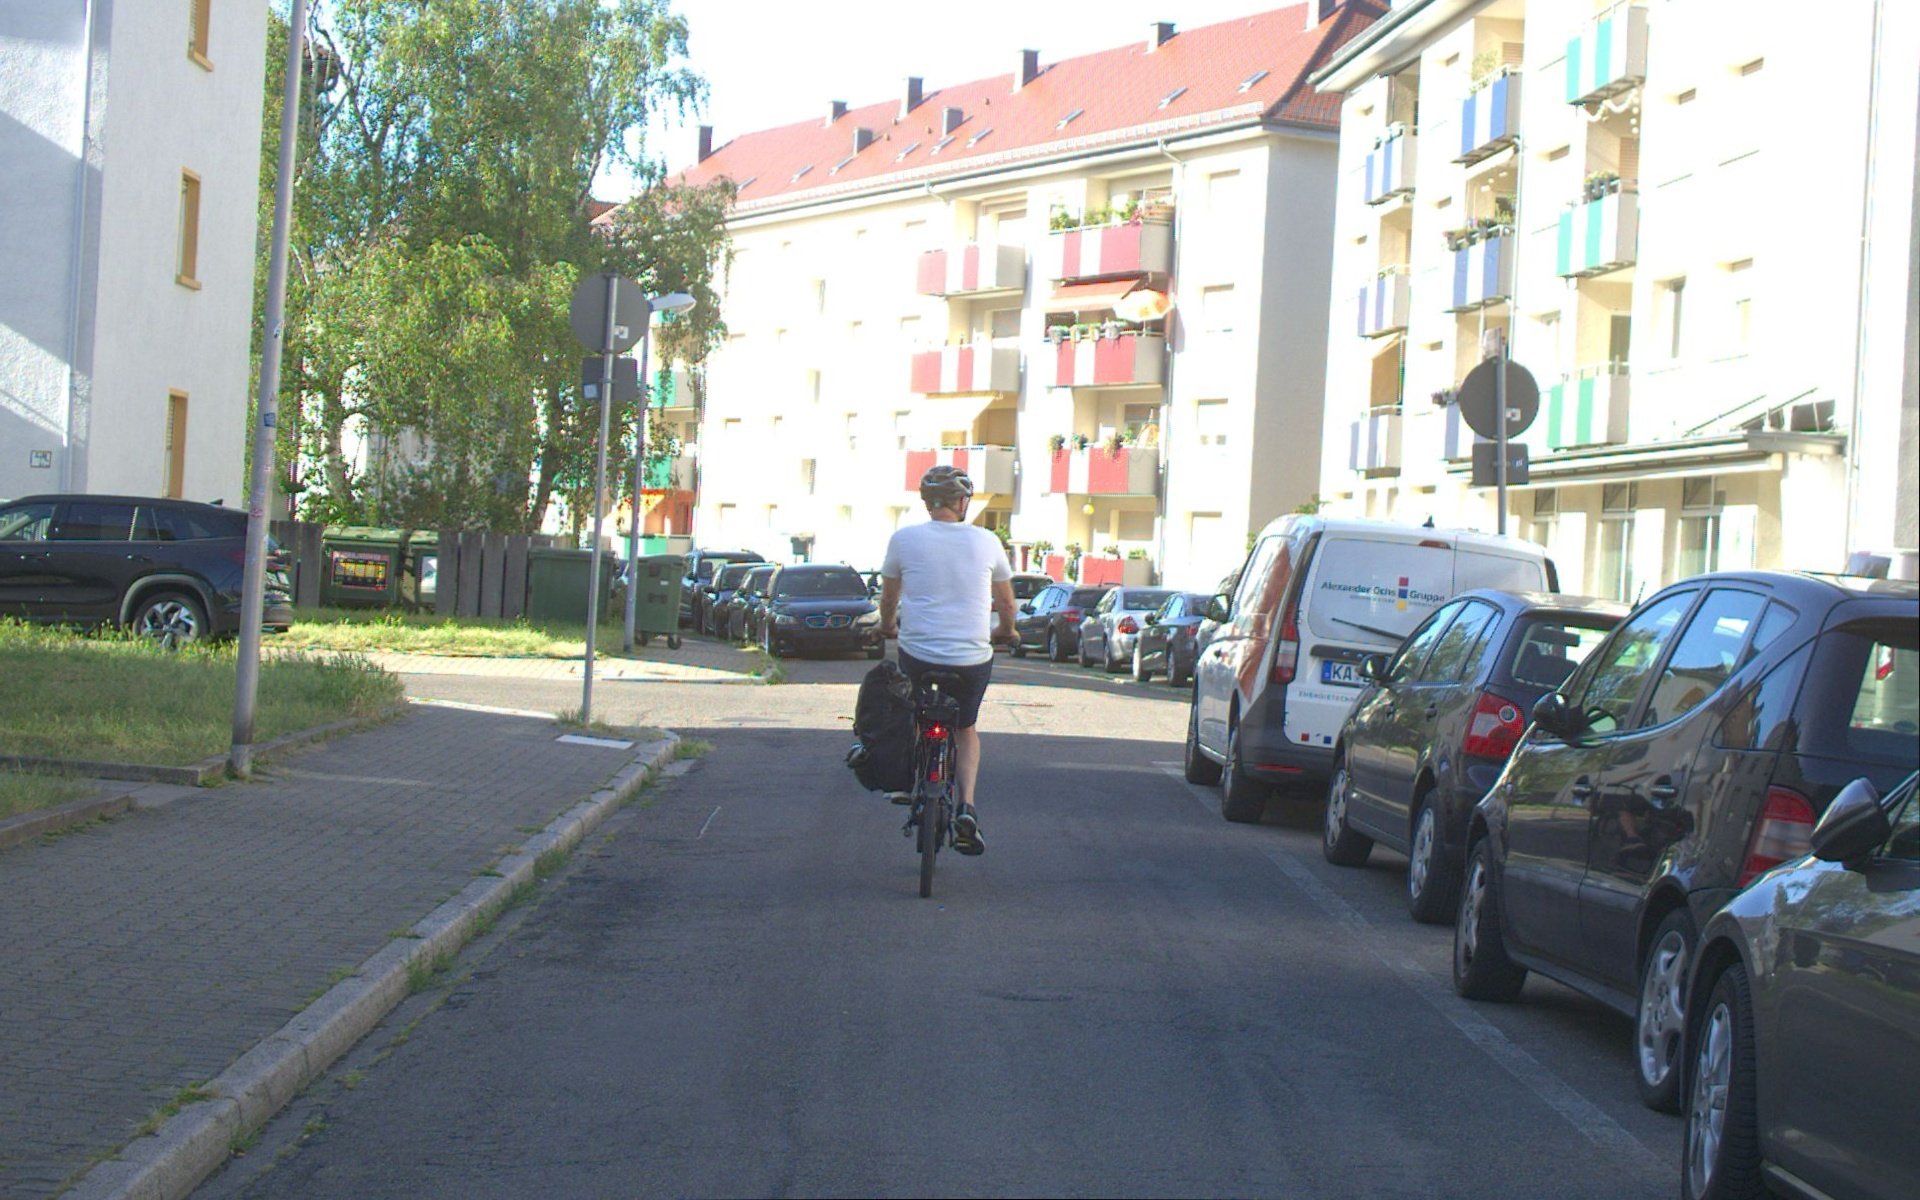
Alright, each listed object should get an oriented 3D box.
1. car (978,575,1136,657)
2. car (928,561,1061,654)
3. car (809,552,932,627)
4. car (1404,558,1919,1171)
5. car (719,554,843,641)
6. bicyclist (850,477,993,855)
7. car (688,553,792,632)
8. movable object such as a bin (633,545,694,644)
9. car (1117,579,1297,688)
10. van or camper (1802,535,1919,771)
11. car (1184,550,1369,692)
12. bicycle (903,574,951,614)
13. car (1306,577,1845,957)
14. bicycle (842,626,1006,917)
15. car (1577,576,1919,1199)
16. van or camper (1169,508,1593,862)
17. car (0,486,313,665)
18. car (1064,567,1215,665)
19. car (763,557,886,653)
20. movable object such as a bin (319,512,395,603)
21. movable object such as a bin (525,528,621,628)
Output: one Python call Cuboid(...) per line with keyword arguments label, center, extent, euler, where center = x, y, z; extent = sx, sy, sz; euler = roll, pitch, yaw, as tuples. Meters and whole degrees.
Cuboid(label="car", center=(1.760, 0.270, 64.045), extent=(1.693, 1.427, 4.689), euler=(1, 0, -14))
Cuboid(label="car", center=(0.675, 0.131, 70.615), extent=(1.693, 1.650, 4.392), euler=(1, 3, -13))
Cuboid(label="car", center=(-2.186, -0.266, 82.913), extent=(1.765, 1.630, 4.043), euler=(1, 2, -20))
Cuboid(label="car", center=(2.642, 0.711, 10.900), extent=(1.617, 1.545, 3.612), euler=(4, 1, -5))
Cuboid(label="car", center=(-3.129, -0.074, 59.477), extent=(1.677, 1.437, 4.281), euler=(0, 1, -9))
Cuboid(label="bicyclist", center=(-0.161, 0.273, 14.792), extent=(0.596, 1.573, 0.907), euler=(0, 0, 0))
Cuboid(label="car", center=(-4.174, -0.167, 64.724), extent=(1.555, 1.437, 3.969), euler=(0, 1, -9))
Cuboid(label="movable object such as a bin", center=(-4.303, -0.091, 50.006), extent=(0.775, 1.388, 1.417), euler=(3, 0, -3))
Cuboid(label="car", center=(3.670, 0.468, 51.872), extent=(1.677, 1.402, 4.547), euler=(3, 1, -9))
Cuboid(label="van or camper", center=(10.542, 0.575, 31.325), extent=(5.123, 2.006, 2.000), euler=(3, 2, 0))
Cuboid(label="car", center=(4.200, 0.244, 46.254), extent=(1.746, 1.818, 4.132), euler=(0, 1, -5))
Cuboid(label="bicycle", center=(-0.880, -0.172, 92.199), extent=(0.617, 0.975, 1.896), euler=(-1, 3, -22))
Cuboid(label="car", center=(2.681, 0.664, 15.784), extent=(1.572, 1.412, 3.788), euler=(3, 1, -3))
Cuboid(label="bicycle", center=(-0.152, 0.702, 14.843), extent=(0.627, 1.111, 1.816), euler=(2, 1, -1))
Cuboid(label="car", center=(2.489, 0.822, 6.236), extent=(1.628, 1.445, 3.953), euler=(6, 2, -4))
Cuboid(label="van or camper", center=(2.417, 0.421, 20.919), extent=(1.792, 1.741, 4.735), euler=(6, 1, -1))
Cuboid(label="car", center=(-8.965, -0.261, 34.734), extent=(4.488, 1.658, 1.719), euler=(2, -1, -1))
Cuboid(label="car", center=(2.980, 0.238, 57.983), extent=(1.677, 1.442, 4.725), euler=(3, 1, -7))
Cuboid(label="car", center=(-2.175, 0.043, 54.230), extent=(1.677, 1.448, 4.621), euler=(0, 1, -6))
Cuboid(label="movable object such as a bin", center=(-9.726, -0.683, 55.471), extent=(1.060, 1.430, 1.003), euler=(1, 1, -3))
Cuboid(label="movable object such as a bin", center=(-5.656, -0.327, 50.326), extent=(1.220, 1.375, 0.767), euler=(4, 0, 2))
